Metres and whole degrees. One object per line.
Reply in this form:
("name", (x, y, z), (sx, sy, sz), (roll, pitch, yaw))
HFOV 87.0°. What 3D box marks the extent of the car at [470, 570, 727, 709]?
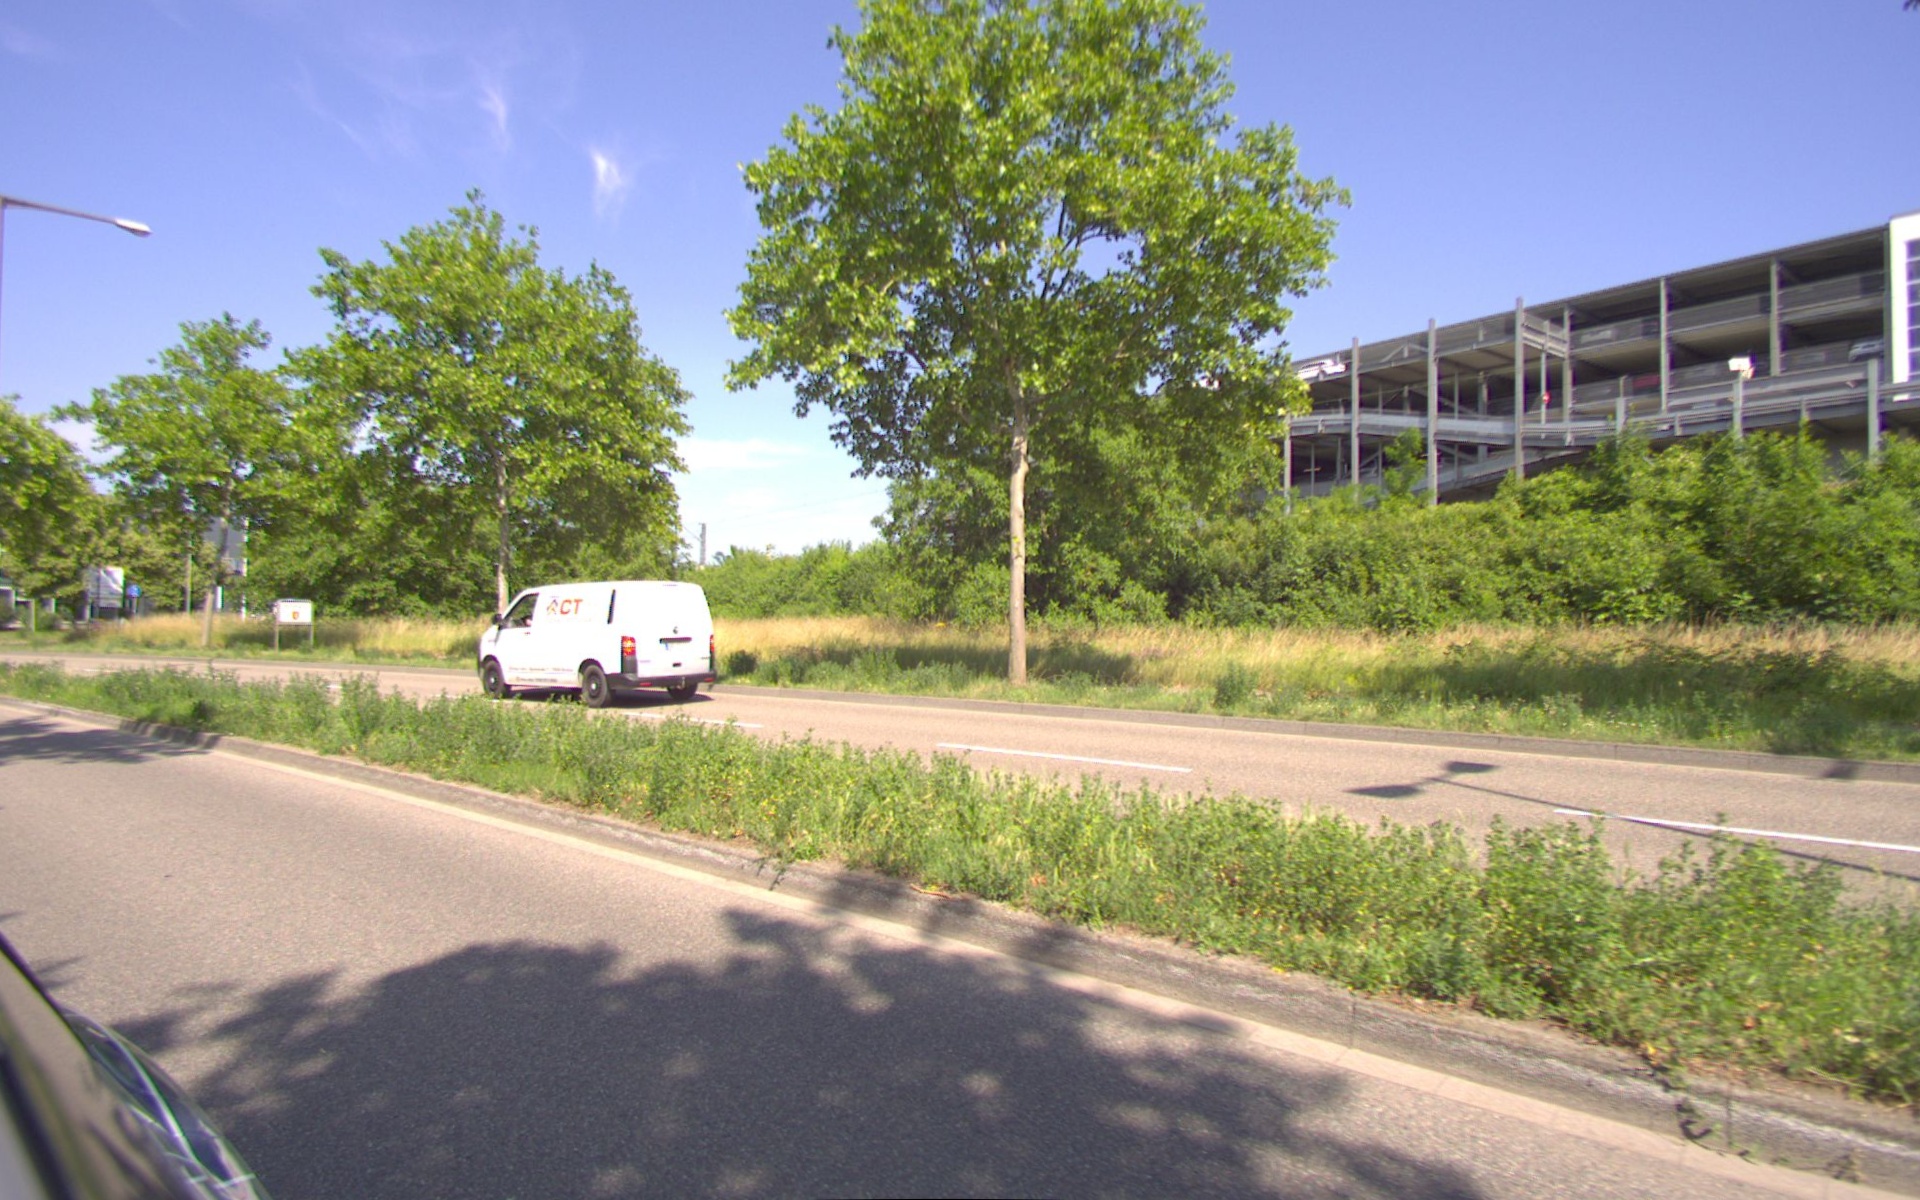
("car", (-6.134, 0.614, 16.964), (4.510, 2.029, 1.974), (-1, -1, 38))
